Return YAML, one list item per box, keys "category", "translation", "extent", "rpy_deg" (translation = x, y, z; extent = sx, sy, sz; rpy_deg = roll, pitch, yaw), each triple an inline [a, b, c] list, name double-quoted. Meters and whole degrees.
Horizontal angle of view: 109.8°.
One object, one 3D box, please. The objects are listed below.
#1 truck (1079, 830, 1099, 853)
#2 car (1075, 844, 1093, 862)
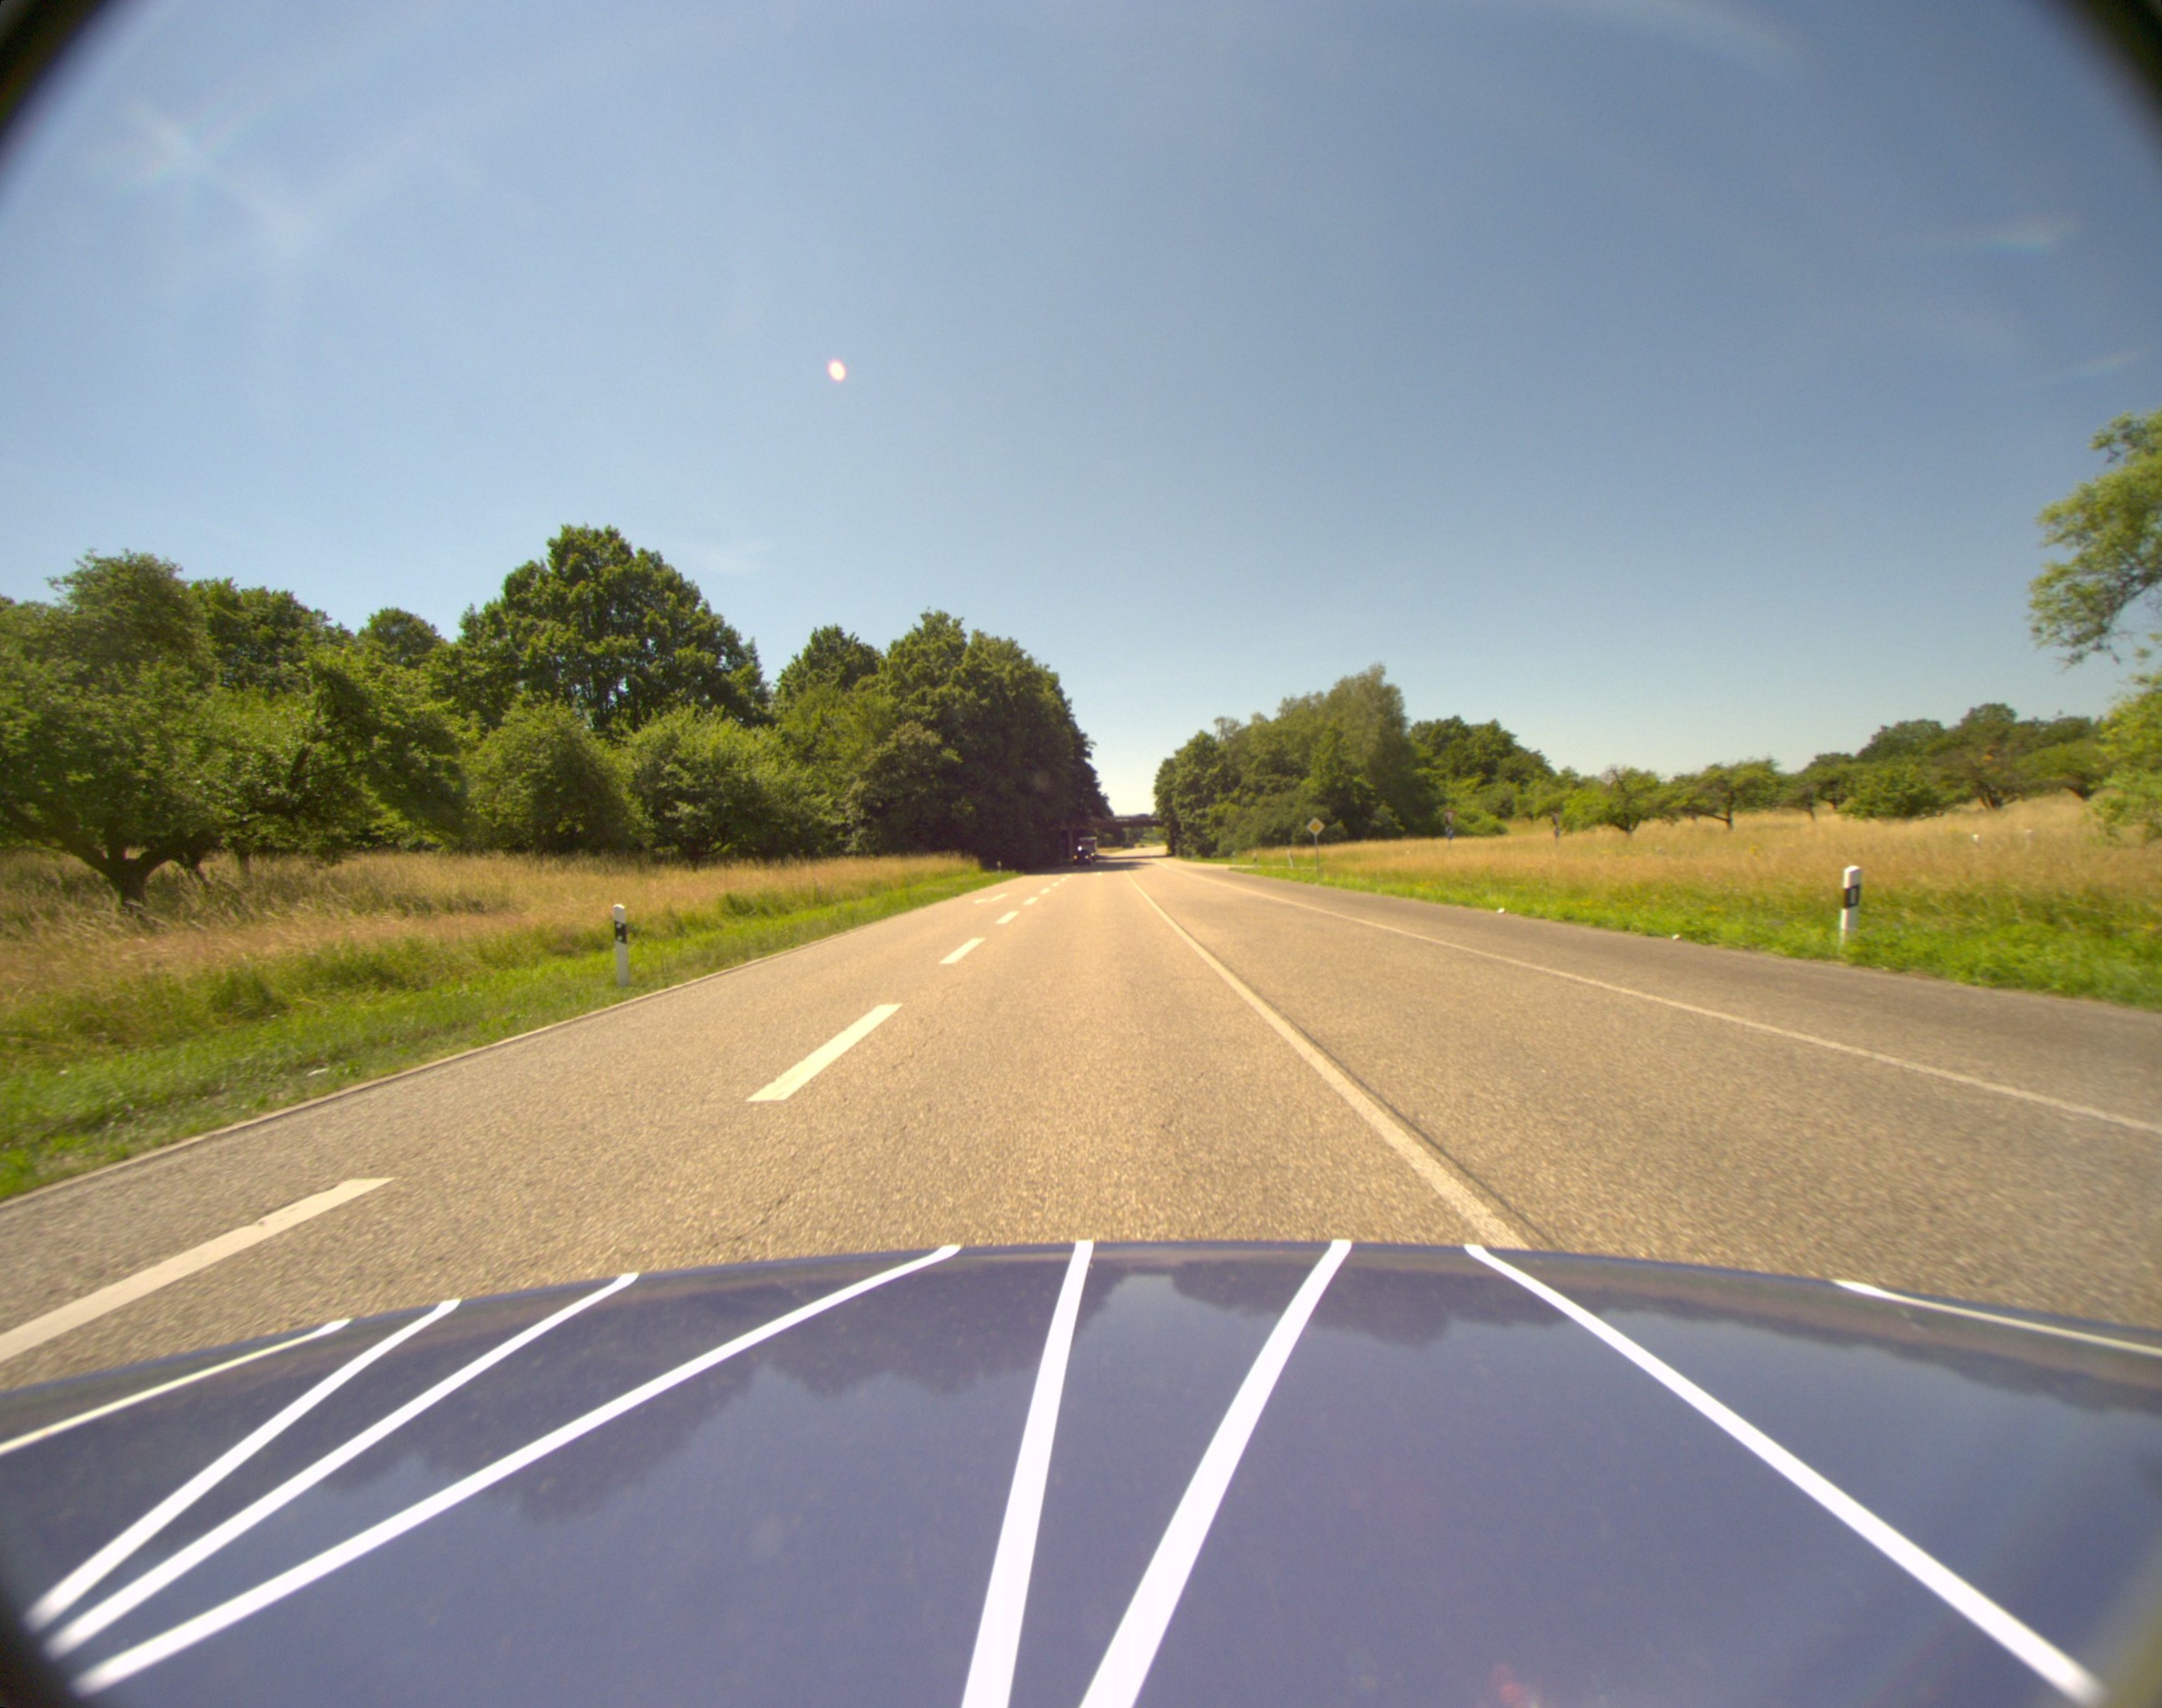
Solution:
- category: "truck"
  translation: [1.089, -1.748, 102.785]
  extent: [2.457, 2.927, 6.973]
  rpy_deg: [-2, 1, 2]
- category: "car"
  translation: [0.394, -0.098, 81.317]
  extent: [1.746, 1.833, 3.999]
  rpy_deg: [-2, 1, 2]
